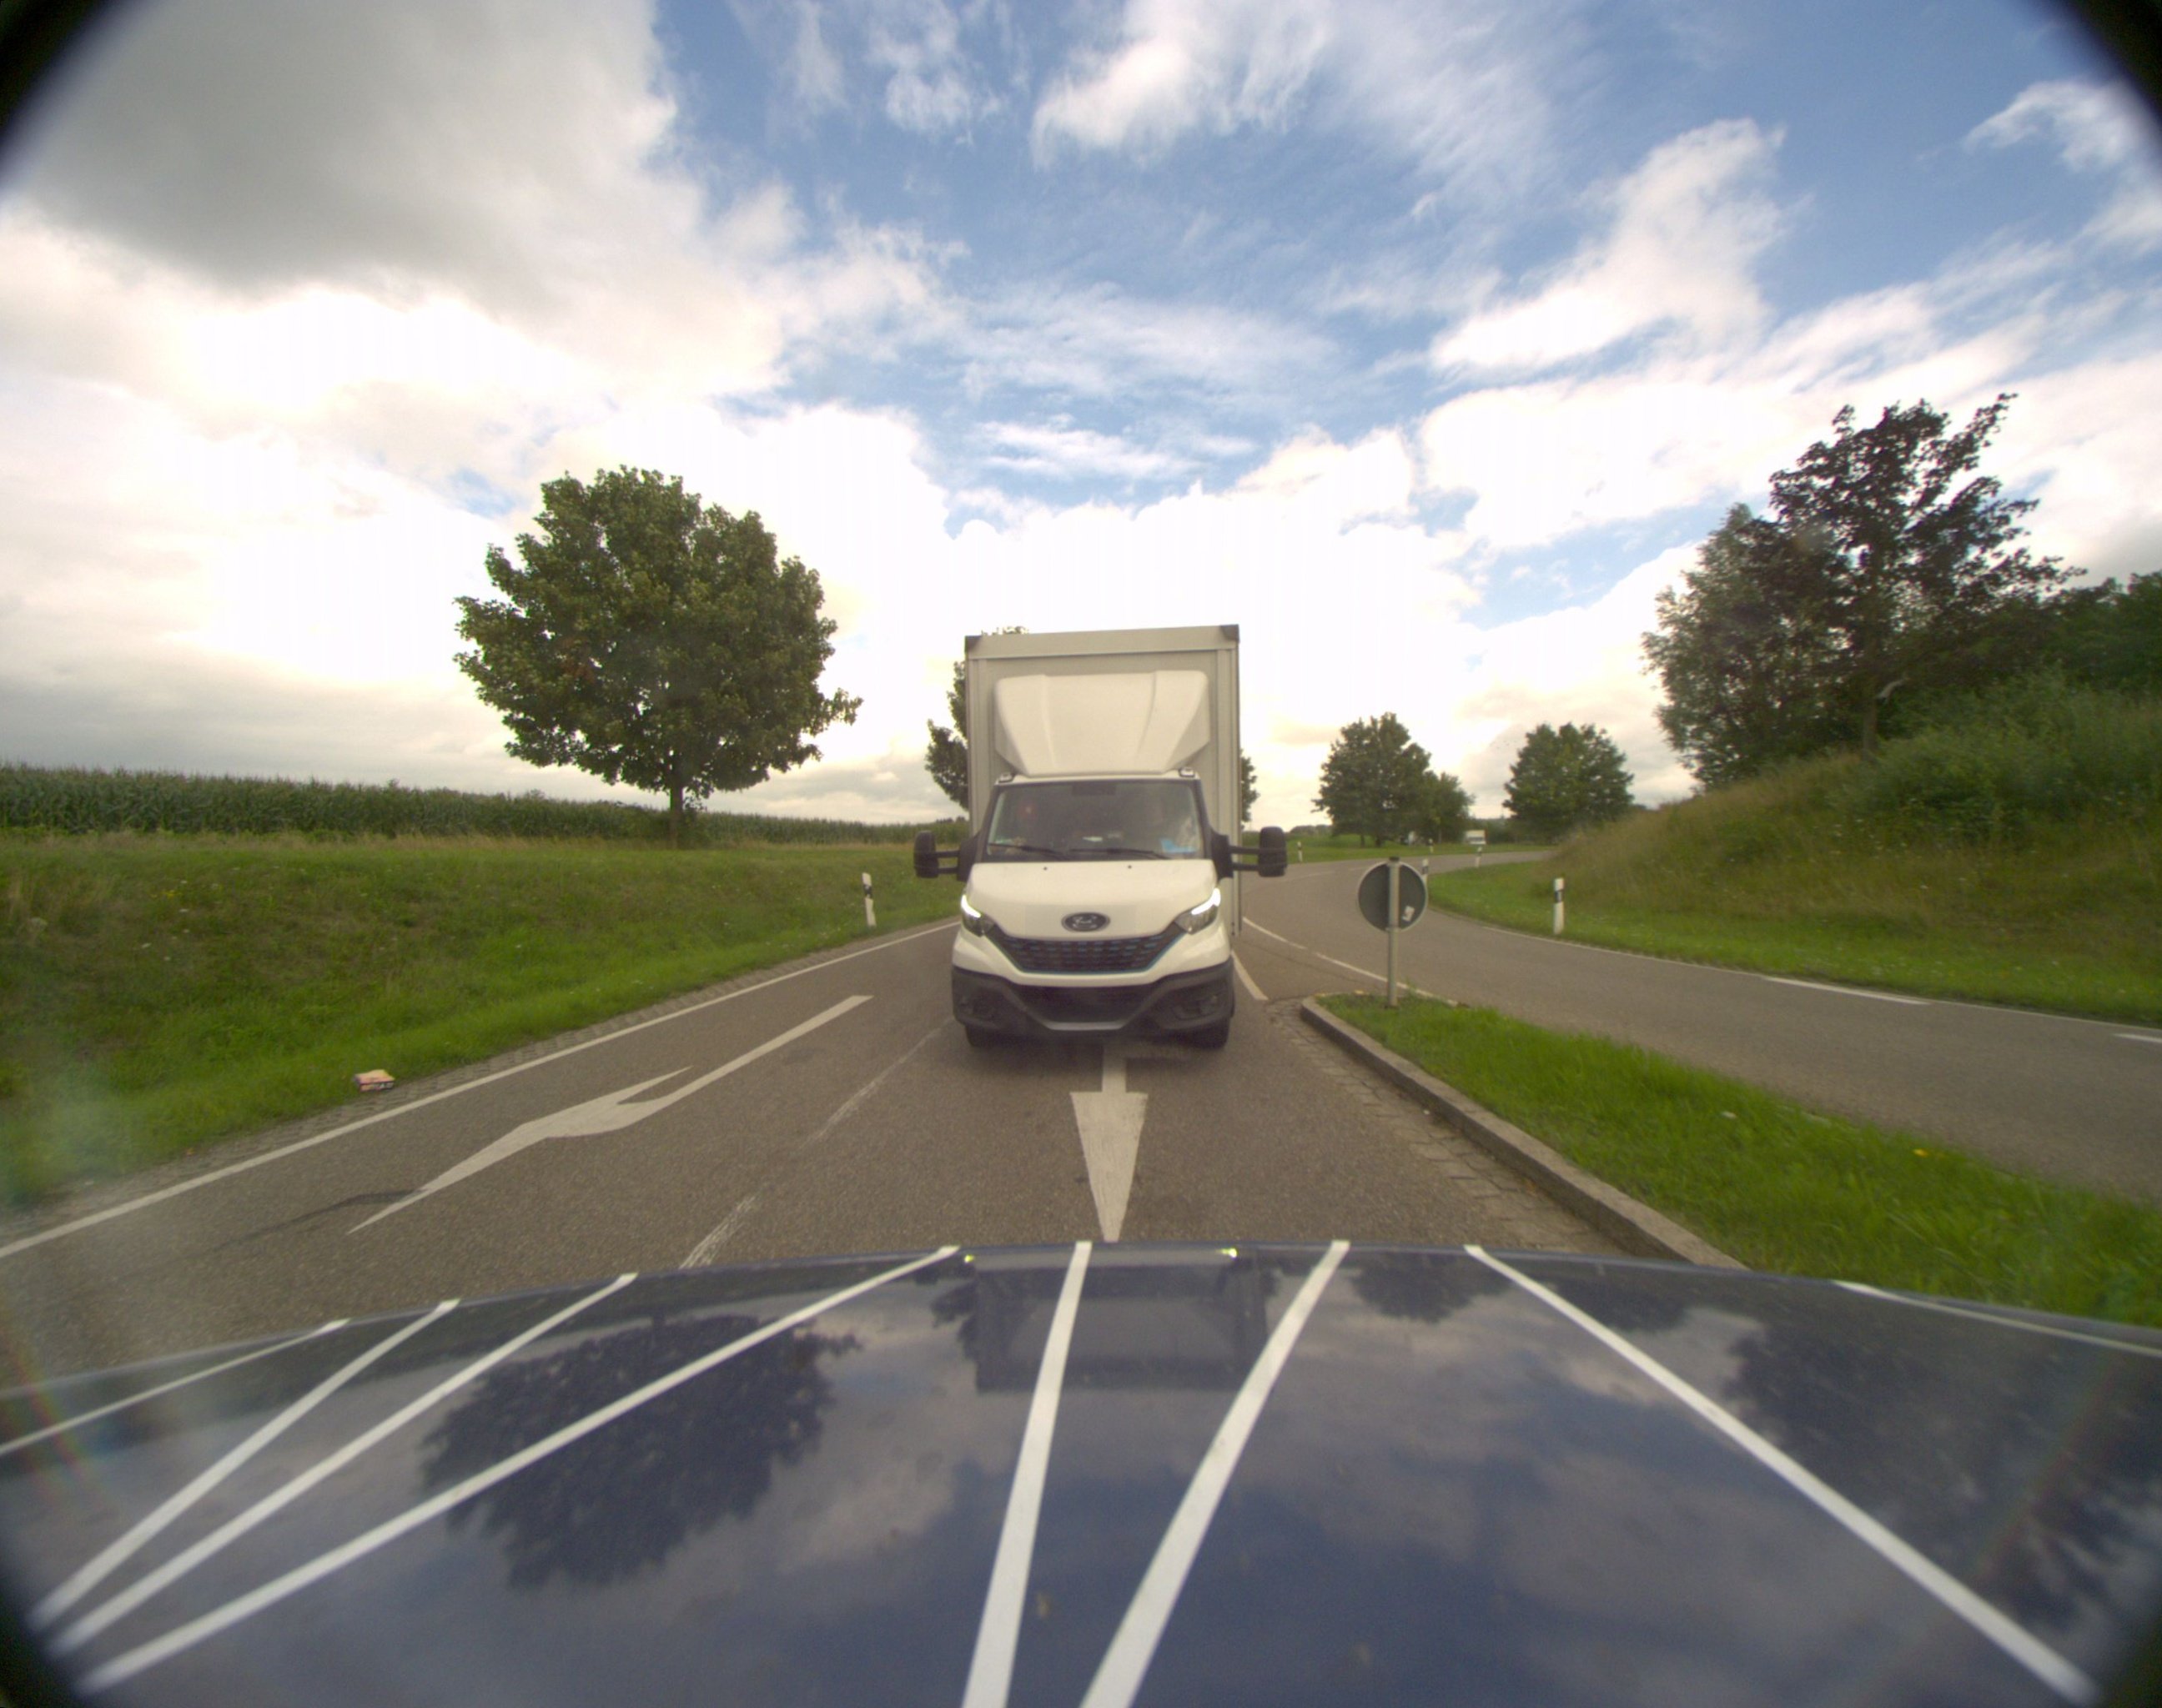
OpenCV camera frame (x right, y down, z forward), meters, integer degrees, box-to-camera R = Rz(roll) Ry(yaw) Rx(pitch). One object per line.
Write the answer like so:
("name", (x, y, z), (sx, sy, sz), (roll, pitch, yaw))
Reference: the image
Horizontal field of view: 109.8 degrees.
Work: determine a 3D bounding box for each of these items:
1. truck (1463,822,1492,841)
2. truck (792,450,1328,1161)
("truck", (53.674, -3.048, 102.945), (2.287, 2.407, 6.389), (-1, 1, 17))
("truck", (0.153, -0.355, 8.473), (2.836, 3.743, 8.799), (0, 2, 4))
